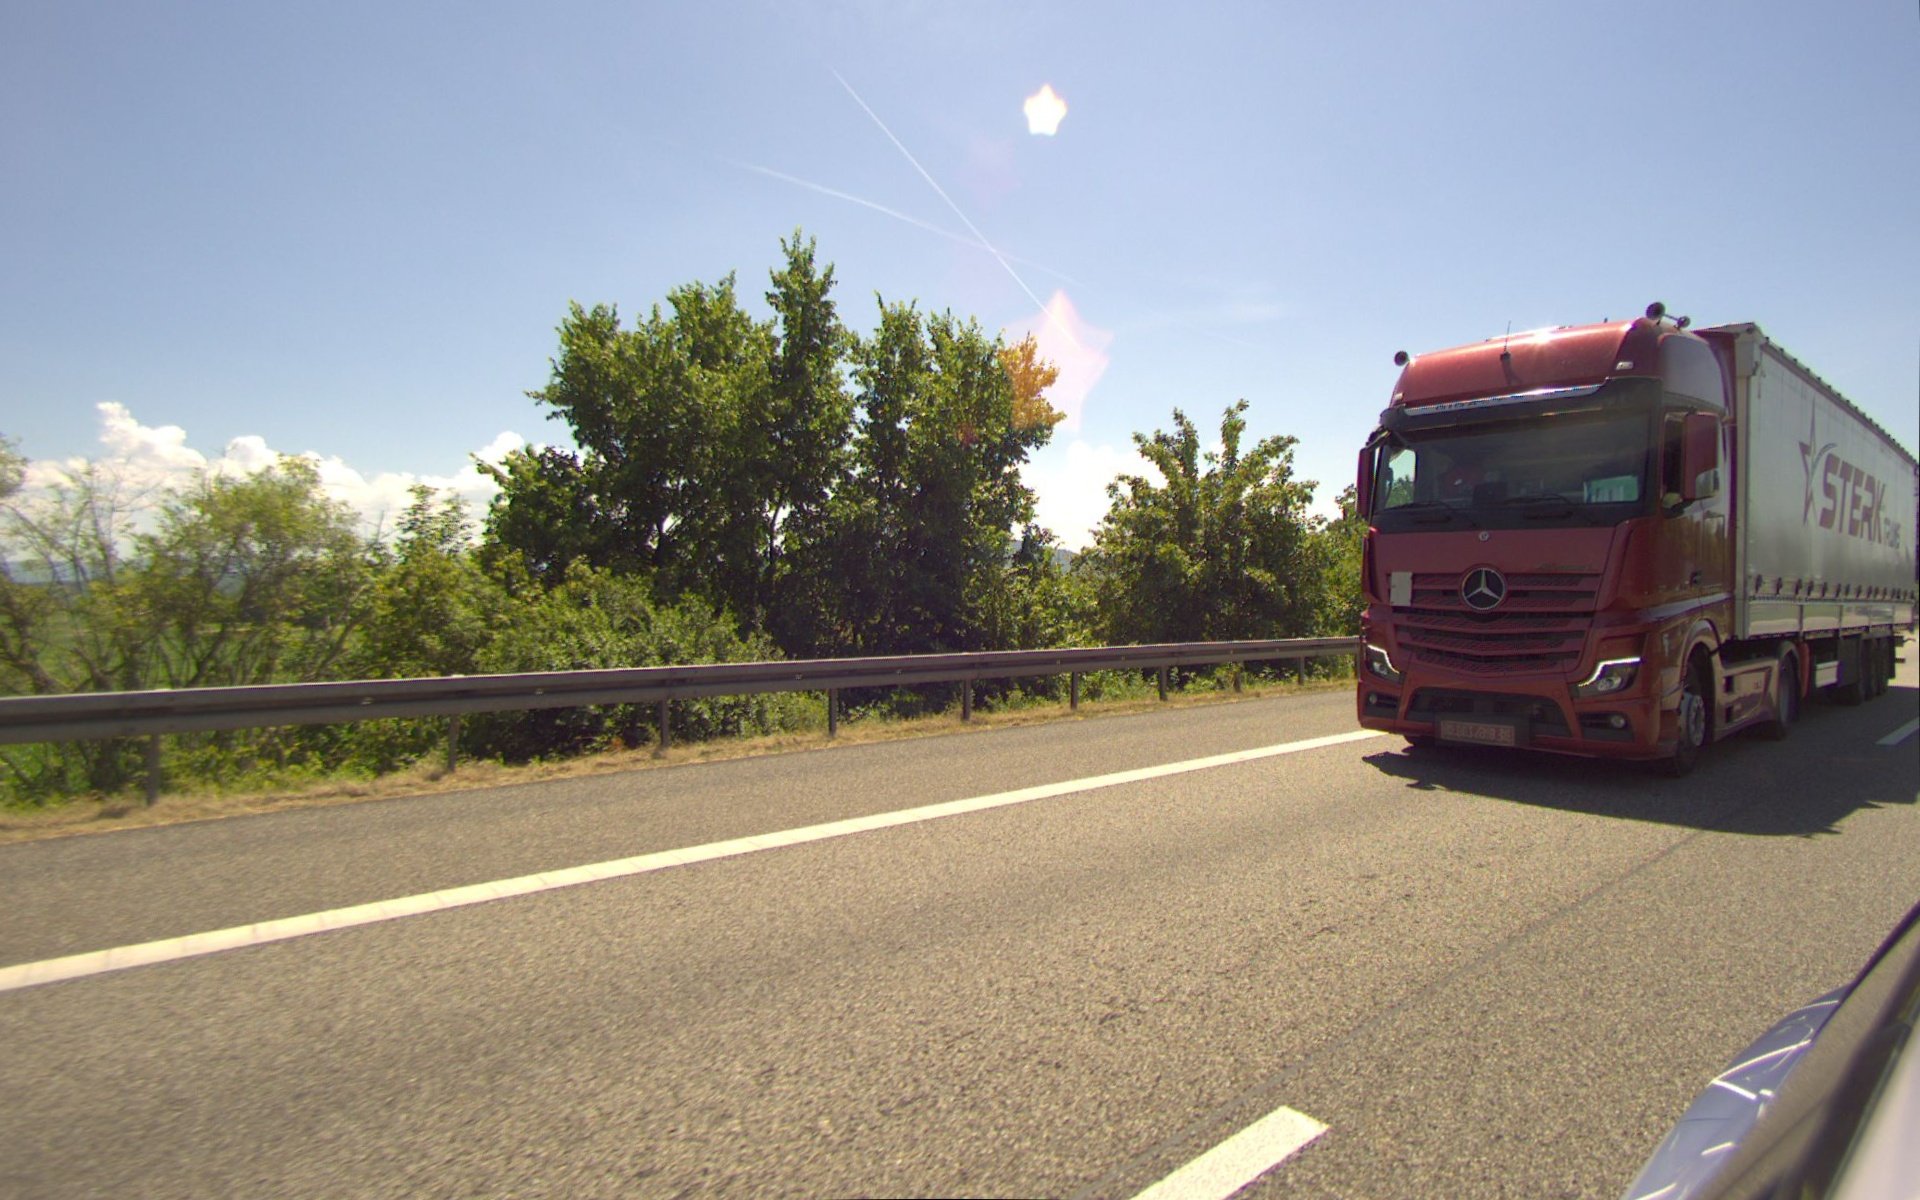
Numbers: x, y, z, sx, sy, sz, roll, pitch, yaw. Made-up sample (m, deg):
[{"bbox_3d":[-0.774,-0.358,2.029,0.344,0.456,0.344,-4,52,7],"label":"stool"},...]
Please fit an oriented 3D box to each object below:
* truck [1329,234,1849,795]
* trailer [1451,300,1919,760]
[{"bbox_3d":[6.961,-0.643,10.715,6.841,4.140,2.712,0,0,-40],"label":"truck"},{"bbox_3d":[11.548,-0.638,14.705,13.903,4.140,2.712,0,0,-41],"label":"trailer"}]
